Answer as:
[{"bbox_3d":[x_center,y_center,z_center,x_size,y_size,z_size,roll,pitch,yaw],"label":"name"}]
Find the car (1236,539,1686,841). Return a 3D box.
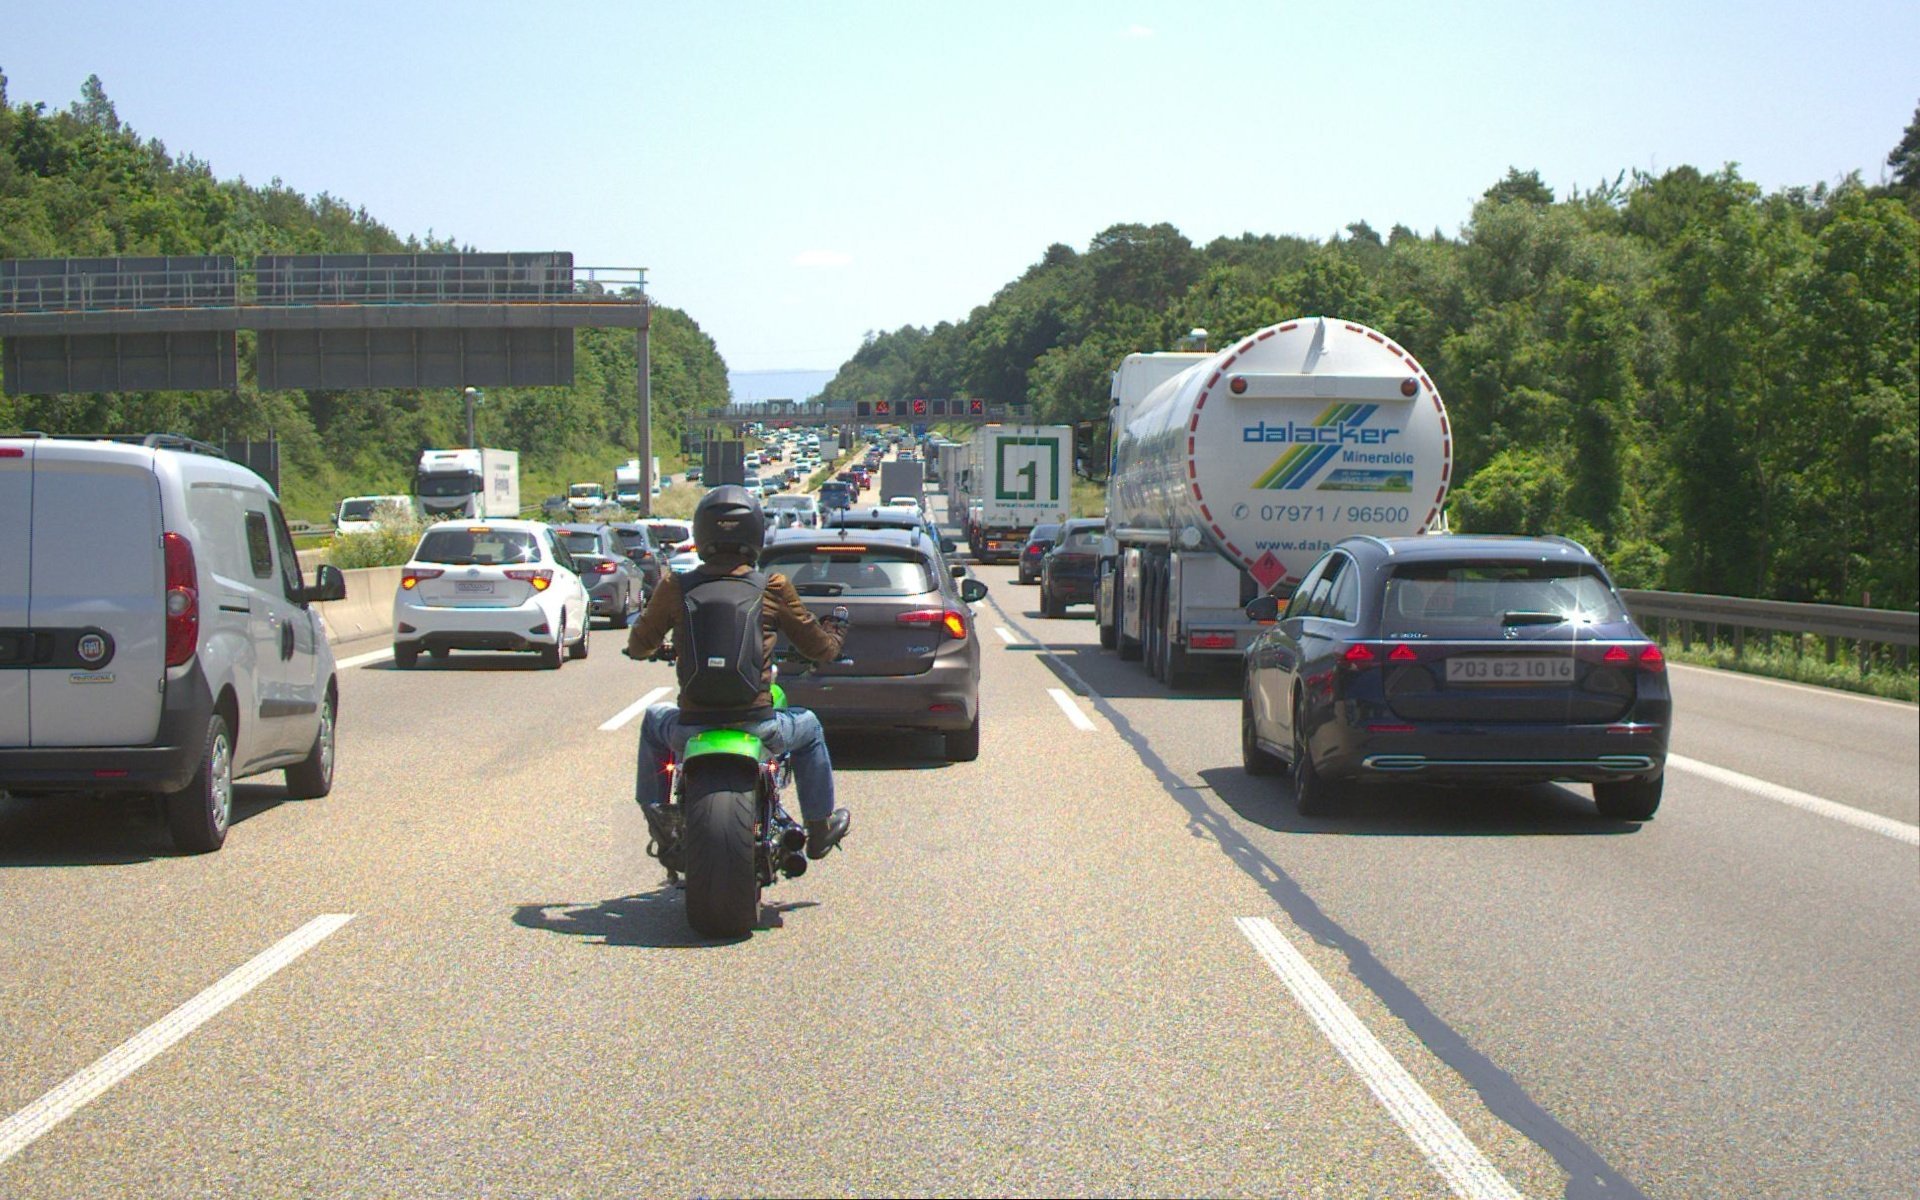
[{"bbox_3d":[2.614,0.405,18.835,1.828,1.465,4.000,0,1,-1],"label":"car"}]

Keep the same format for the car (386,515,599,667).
[{"bbox_3d":[-4.802,-0.136,35.756,1.699,1.473,4.000,-1,1,-1],"label":"car"}]

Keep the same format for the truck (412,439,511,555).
[{"bbox_3d":[-21.232,-4.367,146.849,2.765,4.724,10.472,-1,1,-1],"label":"truck"}]

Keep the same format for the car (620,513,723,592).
[{"bbox_3d":[-5.568,-0.943,66.756,1.699,1.473,4.000,-1,1,-1],"label":"car"}]

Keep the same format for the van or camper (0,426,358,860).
[{"bbox_3d":[-4.216,0.175,17.046,1.796,1.886,4.160,0,0,-1],"label":"van or camper"}]

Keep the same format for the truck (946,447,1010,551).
[{"bbox_3d":[0.858,-5.117,175.691,3.033,5.122,9.983,0,1,-1],"label":"truck"}]

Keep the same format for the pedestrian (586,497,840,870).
[{"bbox_3d":[-0.938,0.306,13.327,0.849,1.357,0.961,-3,1,1],"label":"pedestrian"}]

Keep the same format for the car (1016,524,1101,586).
[{"bbox_3d":[2.233,-1.053,78.922,1.787,1.370,3.804,-1,1,-1],"label":"car"}]

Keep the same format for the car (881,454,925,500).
[{"bbox_3d":[-3.288,-7.098,198.352,2.504,2.578,5.016,-1,1,-1],"label":"car"}]

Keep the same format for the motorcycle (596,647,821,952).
[{"bbox_3d":[-0.934,0.720,13.221,0.691,1.012,2.121,0,1,0],"label":"motorcycle"}]

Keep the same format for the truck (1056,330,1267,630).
[{"bbox_3d":[2.486,-1.454,43.623,1.993,3.510,4.752,-3,0,-3],"label":"truck"}]

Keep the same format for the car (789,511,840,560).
[{"bbox_3d":[-6.262,-2.770,148.225,1.993,2.007,4.000,-3,0,0],"label":"car"}]

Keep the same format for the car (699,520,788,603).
[{"bbox_3d":[-5.580,-0.985,89.048,1.993,2.007,4.000,-3,0,0],"label":"car"}]

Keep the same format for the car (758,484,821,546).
[{"bbox_3d":[-5.905,-2.928,119.504,1.929,2.007,4.000,-3,0,0],"label":"car"}]

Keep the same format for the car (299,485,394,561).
[{"bbox_3d":[-17.842,-2.215,100.087,1.880,2.007,4.468,-4,0,0],"label":"car"}]

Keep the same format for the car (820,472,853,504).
[{"bbox_3d":[-7.947,-7.165,220.874,1.993,2.007,4.000,-1,1,-1],"label":"car"}]

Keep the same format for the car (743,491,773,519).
[{"bbox_3d":[-14.813,-6.960,252.276,1.993,2.007,4.000,-1,1,-1],"label":"car"}]

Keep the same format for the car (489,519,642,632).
[{"bbox_3d":[-5.443,-0.371,47.791,1.699,1.473,4.000,-1,1,-1],"label":"car"}]

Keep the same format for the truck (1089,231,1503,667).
[{"bbox_3d":[3.098,-1.344,34.570,2.988,3.659,9.288,-3,0,-1],"label":"truck"}]

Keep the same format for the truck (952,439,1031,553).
[{"bbox_3d":[1.262,-4.276,142.625,3.033,4.527,9.983,0,1,-1],"label":"truck"}]

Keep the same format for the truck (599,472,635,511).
[{"bbox_3d":[-23.443,-7.395,235.339,1.993,2.492,4.000,-3,0,-1],"label":"truck"}]

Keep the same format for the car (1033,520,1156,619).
[{"bbox_3d":[2.163,-0.522,56.076,1.787,1.550,3.804,-1,1,-1],"label":"car"}]

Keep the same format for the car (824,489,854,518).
[{"bbox_3d":[-8.588,-6.821,243.944,1.993,2.007,4.000,0,1,-1],"label":"car"}]

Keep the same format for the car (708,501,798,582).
[{"bbox_3d":[-4.828,-1.374,80.691,1.880,1.853,4.000,0,1,0],"label":"car"}]

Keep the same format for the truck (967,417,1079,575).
[{"bbox_3d":[1.830,-3.110,103.930,3.033,4.527,9.983,0,1,-1],"label":"truck"}]

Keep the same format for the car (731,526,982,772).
[{"bbox_3d":[-0.682,0.270,23.019,1.532,1.504,4.000,0,1,-1],"label":"car"}]

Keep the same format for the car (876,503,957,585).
[{"bbox_3d":[-1.134,-1.457,90.674,1.993,2.007,4.000,-3,0,0],"label":"car"}]

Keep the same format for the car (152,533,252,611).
[{"bbox_3d":[-20.760,-0.760,94.309,1.827,2.007,3.879,-3,0,0],"label":"car"}]
